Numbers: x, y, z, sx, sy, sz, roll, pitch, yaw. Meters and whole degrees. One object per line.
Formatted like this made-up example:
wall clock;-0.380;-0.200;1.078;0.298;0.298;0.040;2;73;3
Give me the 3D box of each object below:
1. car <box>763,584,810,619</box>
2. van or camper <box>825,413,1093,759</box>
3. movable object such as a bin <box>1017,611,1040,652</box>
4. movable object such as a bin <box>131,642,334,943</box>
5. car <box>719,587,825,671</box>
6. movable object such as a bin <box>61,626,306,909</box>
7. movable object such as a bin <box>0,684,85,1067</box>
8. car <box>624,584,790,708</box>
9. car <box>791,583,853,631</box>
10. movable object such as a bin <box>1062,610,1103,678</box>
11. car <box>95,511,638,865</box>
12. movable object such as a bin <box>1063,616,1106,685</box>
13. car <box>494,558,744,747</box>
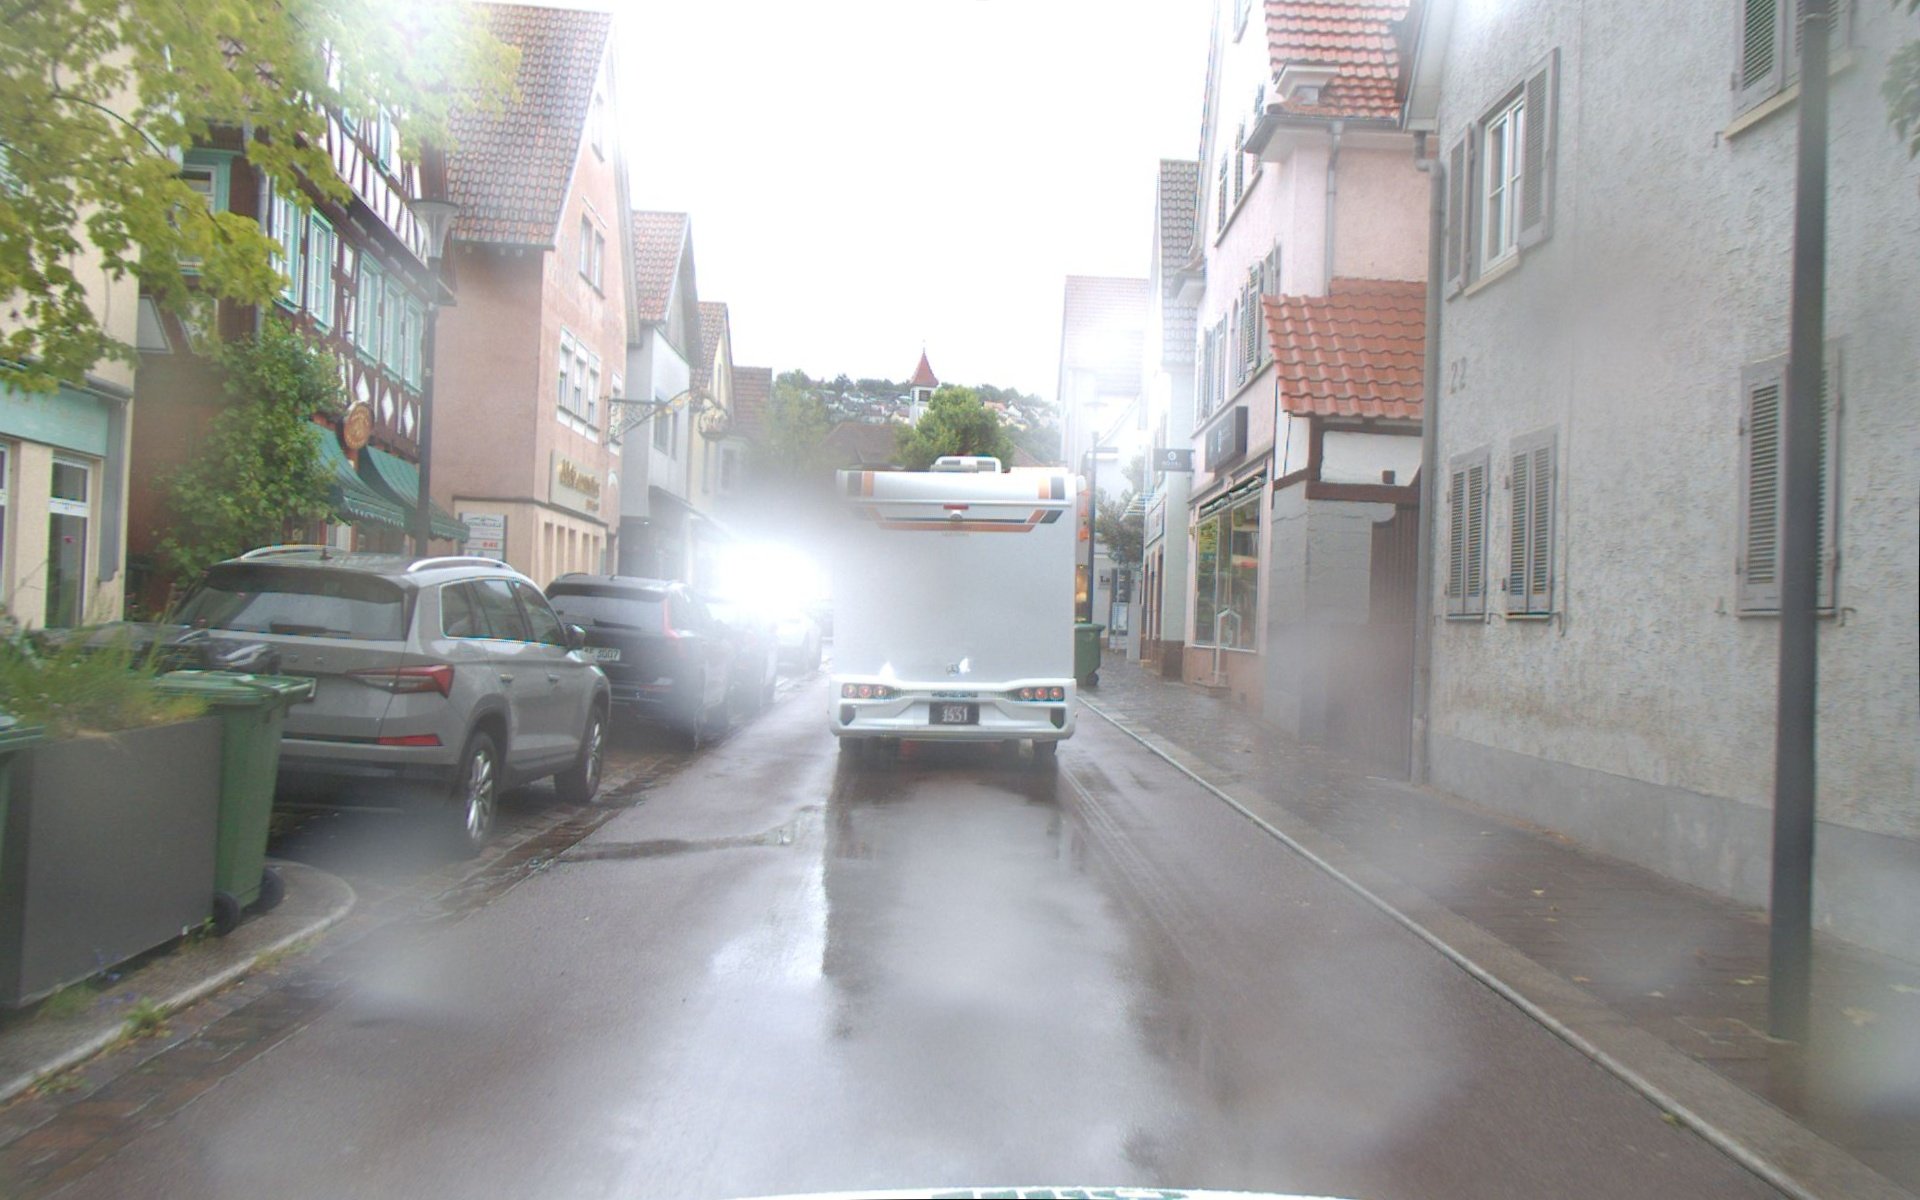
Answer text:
car;-10.646;0.126;101.394;1.963;2.049;3.978;2;-1;-19
van or camper;-0.191;-0.067;17.683;2.280;2.970;6.388;1;-1;-3
movable object such as a bin;2.145;0.984;51.653;0.645;1.260;0.621;1;-1;-2
movable object such as a bin;-3.109;0.800;7.109;0.589;1.222;0.523;1;-1;2
car;-3.850;0.608;34.408;1.790;1.594;3.999;1;-1;-1
movable object such as a bin;-3.567;0.743;7.657;0.729;1.222;0.749;1;-1;1
movable object such as a bin;-3.092;0.808;4.864;0.608;1.098;0.725;1;-1;1
car;-3.532;0.644;23.775;1.796;1.579;4.280;1;-1;-2
car;-4.743;0.212;56.320;1.955;1.497;3.995;2;0;-6
movable object such as a bin;2.261;0.814;30.503;0.704;1.222;0.578;1;-1;1
car;-3.444;0.486;10.632;1.735;1.704;4.479;3;-1;1
movable object such as a bin;2.250;0.913;29.918;0.704;1.222;0.573;1;-1;1
car;-3.465;0.529;17.643;1.796;1.704;4.538;1;-1;-2
